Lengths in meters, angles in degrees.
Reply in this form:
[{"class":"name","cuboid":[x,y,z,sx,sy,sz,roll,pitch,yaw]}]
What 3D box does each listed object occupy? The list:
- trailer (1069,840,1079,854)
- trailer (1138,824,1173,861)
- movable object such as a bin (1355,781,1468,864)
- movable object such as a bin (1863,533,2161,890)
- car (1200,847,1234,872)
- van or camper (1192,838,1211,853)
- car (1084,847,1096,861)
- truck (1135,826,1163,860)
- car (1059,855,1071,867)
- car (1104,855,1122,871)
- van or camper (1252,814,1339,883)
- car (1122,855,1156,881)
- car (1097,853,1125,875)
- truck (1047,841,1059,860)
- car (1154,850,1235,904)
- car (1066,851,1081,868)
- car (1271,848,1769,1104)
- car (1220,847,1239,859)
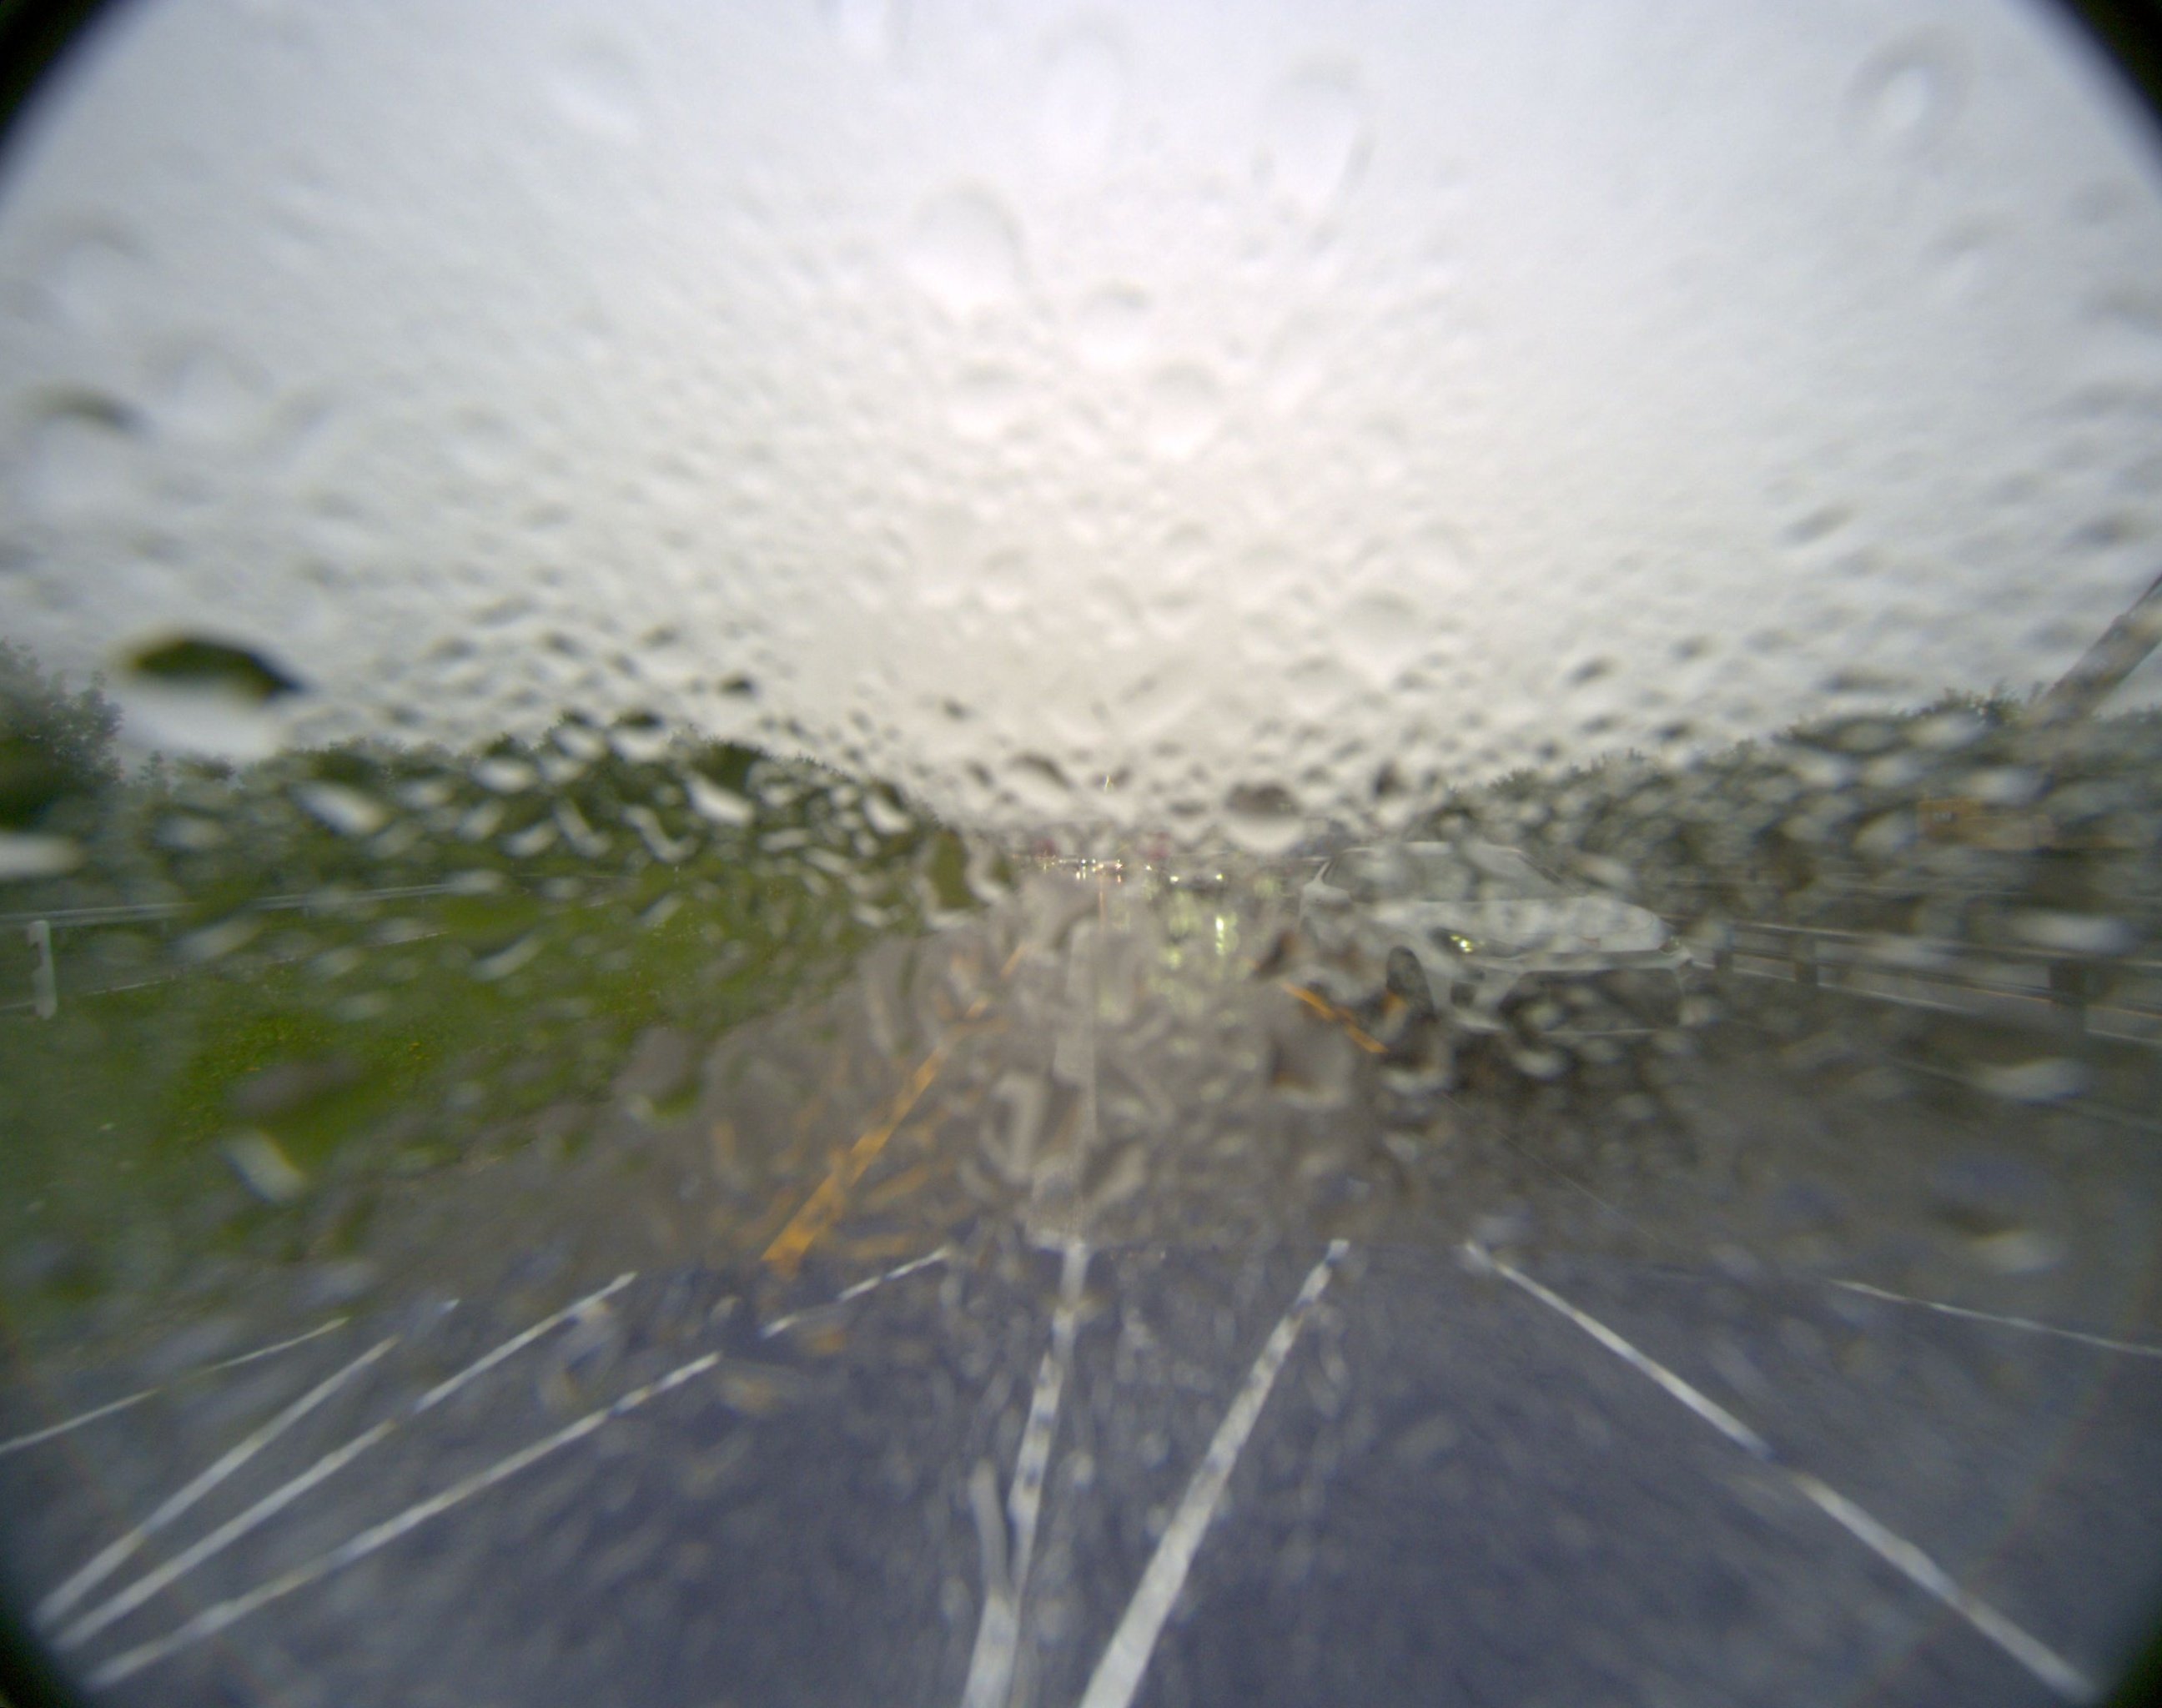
[{"class":"trailer","cuboid":[-2.313,-2.062,235.958,2.915,4.065,12.218,-1,0,-1]},{"class":"trailer","cuboid":[9.025,-1.380,93.491,2.984,4.270,11.057,-1,1,-1]},{"class":"movable object such as a bin","cuboid":[25.971,-2.352,60.630,4.181,5.881,11.044,-3,1,2]},{"class":"movable object such as a bin","cuboid":[26.517,-3.347,19.847,3.605,8.097,8.307,-3,1,2]},{"class":"car","cuboid":[9.973,0.371,56.082,1.640,1.658,4.543,-3,1,0]},{"class":"van or camper","cuboid":[36.434,-2.640,229.906,3.377,4.299,8.501,-3,1,-5]},{"class":"car","cuboid":[1.337,-0.056,115.682,1.767,2.002,3.999,-3,1,0]},{"class":"truck","cuboid":[8.909,-1.447,100.630,3.015,4.247,6.798,-1,1,-1]},{"class":"car","cuboid":[-2.464,1.028,119.299,1.674,1.804,3.998,-1,1,-4]},{"class":"car","cuboid":[3.279,0.937,77.961,1.589,1.528,3.830,-1,1,0]},{"class":"van or camper","cuboid":[10.425,-0.293,37.582,2.299,3.024,6.698,-3,1,0]},{"class":"car","cuboid":[3.670,0.854,48.535,1.792,1.480,3.999,-3,1,0]},{"class":"car","cuboid":[2.508,0.815,64.283,1.881,1.772,3.998,-1,1,-4]},{"class":"truck","cuboid":[-6.338,-0.822,173.851,2.506,4.067,15.197,-3,1,-1]},{"class":"car","cuboid":[3.761,0.708,26.175,2.069,1.618,5.195,-2,1,1]},{"class":"car","cuboid":[-0.886,0.602,87.733,1.673,1.804,3.999,-1,1,0]},{"class":"car","cuboid":[3.388,0.756,7.289,1.932,1.542,5.006,-2,1,1]},{"class":"car","cuboid":[26.739,-0.211,137.175,2.100,1.955,5.362,-2,1,-4]}]
